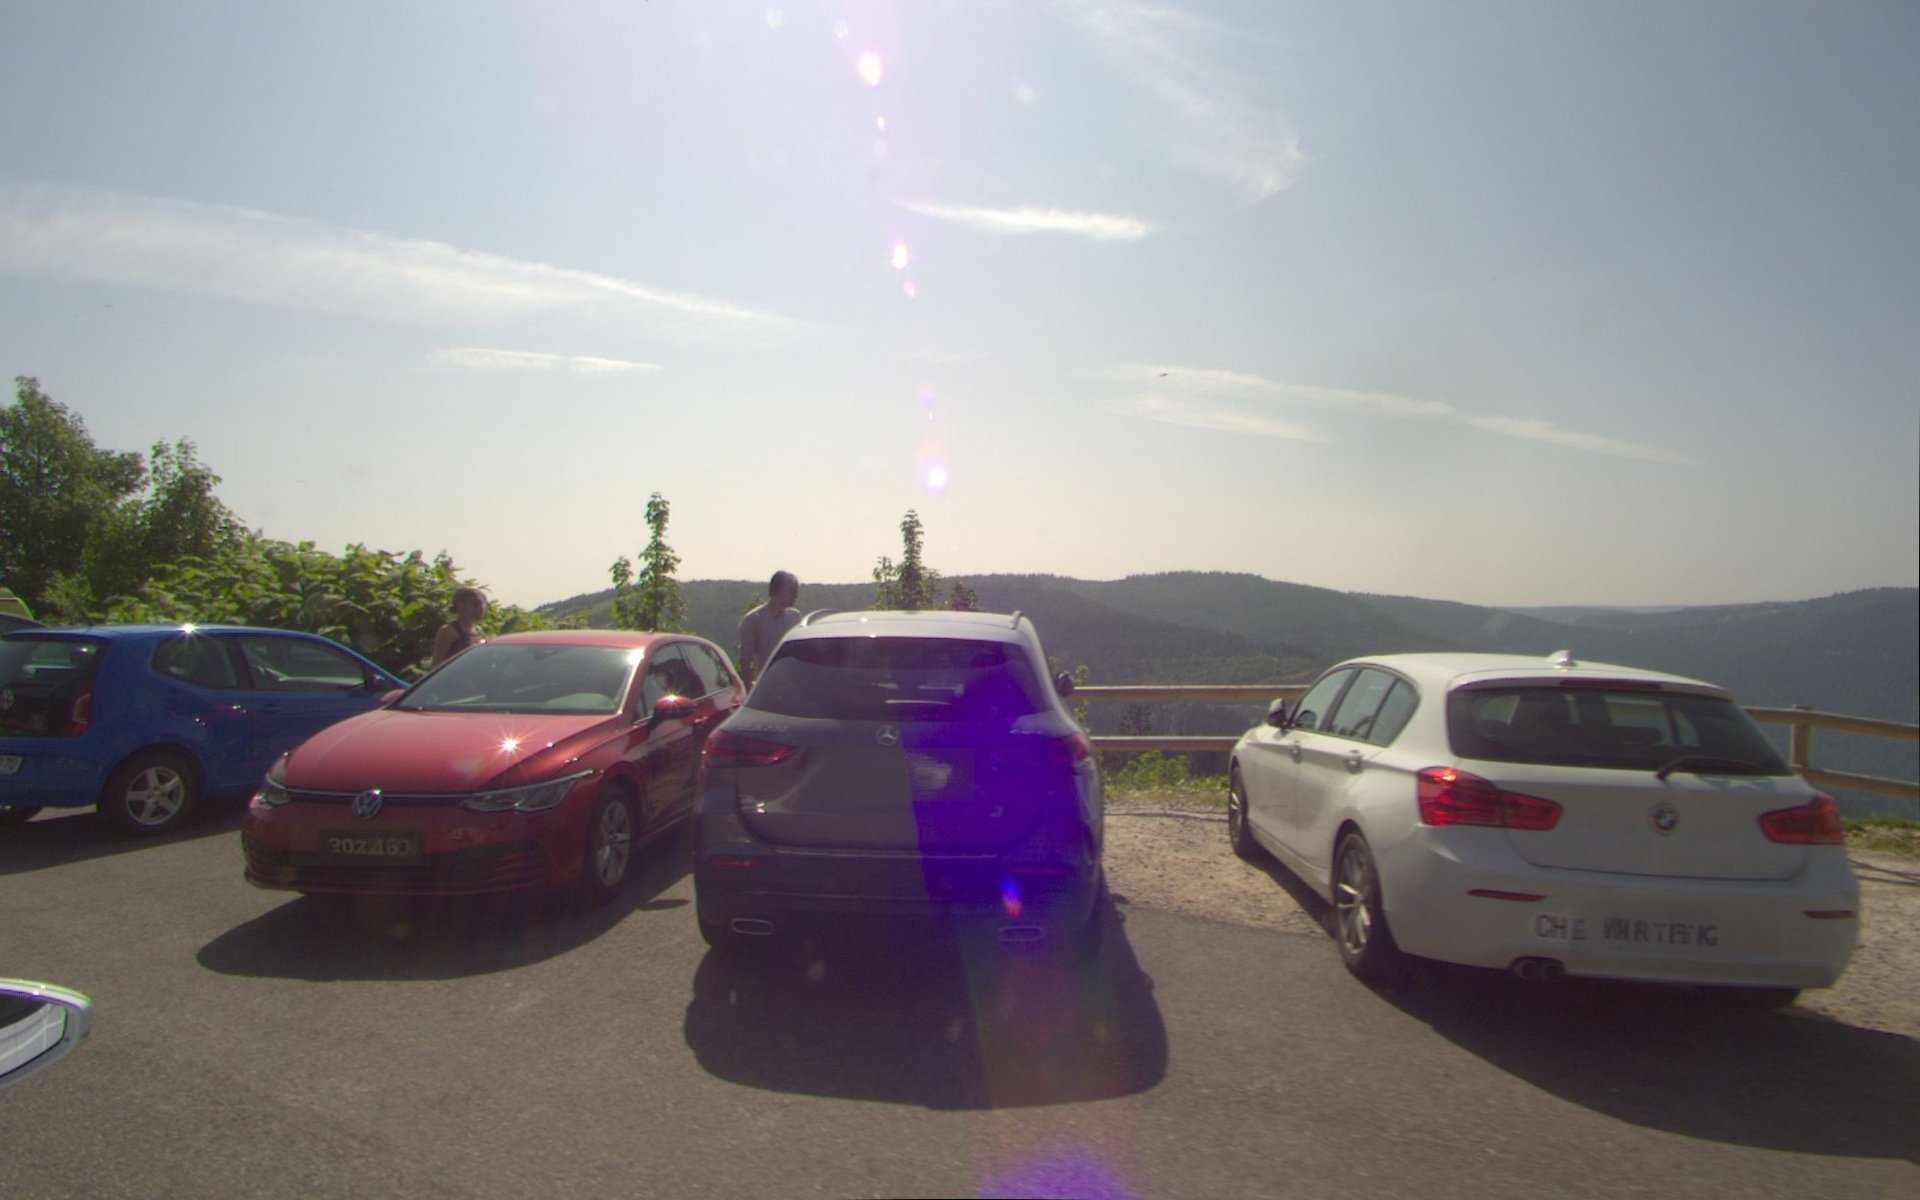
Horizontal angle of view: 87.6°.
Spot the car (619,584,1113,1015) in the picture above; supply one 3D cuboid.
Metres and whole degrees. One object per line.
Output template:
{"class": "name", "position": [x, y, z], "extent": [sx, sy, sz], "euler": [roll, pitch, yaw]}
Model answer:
{"class": "car", "position": [-0.231, 0.834, 6.012], "extent": [1.870, 1.588, 4.414], "euler": [1, -2, 4]}

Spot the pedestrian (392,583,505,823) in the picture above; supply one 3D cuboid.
{"class": "pedestrian", "position": [-3.835, 0.759, 7.544], "extent": [0.556, 1.746, 0.505], "euler": [0, -2, 2]}

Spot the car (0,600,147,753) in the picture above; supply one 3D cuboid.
{"class": "car", "position": [-11.085, 0.786, 10.165], "extent": [1.674, 1.609, 4.160], "euler": [0, -2, 17]}

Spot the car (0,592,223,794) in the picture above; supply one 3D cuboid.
{"class": "car", "position": [-8.712, 0.756, 8.307], "extent": [1.880, 1.634, 4.000], "euler": [0, -2, 9]}

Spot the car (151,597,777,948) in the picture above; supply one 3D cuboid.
{"class": "car", "position": [-2.627, 0.842, 6.519], "extent": [1.806, 1.529, 4.002], "euler": [1, -2, 5]}

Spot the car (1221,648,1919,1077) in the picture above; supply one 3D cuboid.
{"class": "car", "position": [2.600, 0.980, 5.432], "extent": [1.625, 1.403, 4.002], "euler": [0, -2, 5]}

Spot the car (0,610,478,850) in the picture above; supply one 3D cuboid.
{"class": "car", "position": [-6.008, 0.911, 8.331], "extent": [1.617, 1.514, 3.591], "euler": [1, -3, 15]}

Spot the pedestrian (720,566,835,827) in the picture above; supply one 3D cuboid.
{"class": "pedestrian", "position": [-1.412, 0.731, 7.830], "extent": [0.600, 1.923, 0.677], "euler": [-1, -2, 23]}

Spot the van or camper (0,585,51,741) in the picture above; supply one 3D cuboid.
{"class": "van or camper", "position": [-13.984, 0.700, 11.423], "extent": [1.847, 2.038, 5.105], "euler": [0, -3, 16]}
